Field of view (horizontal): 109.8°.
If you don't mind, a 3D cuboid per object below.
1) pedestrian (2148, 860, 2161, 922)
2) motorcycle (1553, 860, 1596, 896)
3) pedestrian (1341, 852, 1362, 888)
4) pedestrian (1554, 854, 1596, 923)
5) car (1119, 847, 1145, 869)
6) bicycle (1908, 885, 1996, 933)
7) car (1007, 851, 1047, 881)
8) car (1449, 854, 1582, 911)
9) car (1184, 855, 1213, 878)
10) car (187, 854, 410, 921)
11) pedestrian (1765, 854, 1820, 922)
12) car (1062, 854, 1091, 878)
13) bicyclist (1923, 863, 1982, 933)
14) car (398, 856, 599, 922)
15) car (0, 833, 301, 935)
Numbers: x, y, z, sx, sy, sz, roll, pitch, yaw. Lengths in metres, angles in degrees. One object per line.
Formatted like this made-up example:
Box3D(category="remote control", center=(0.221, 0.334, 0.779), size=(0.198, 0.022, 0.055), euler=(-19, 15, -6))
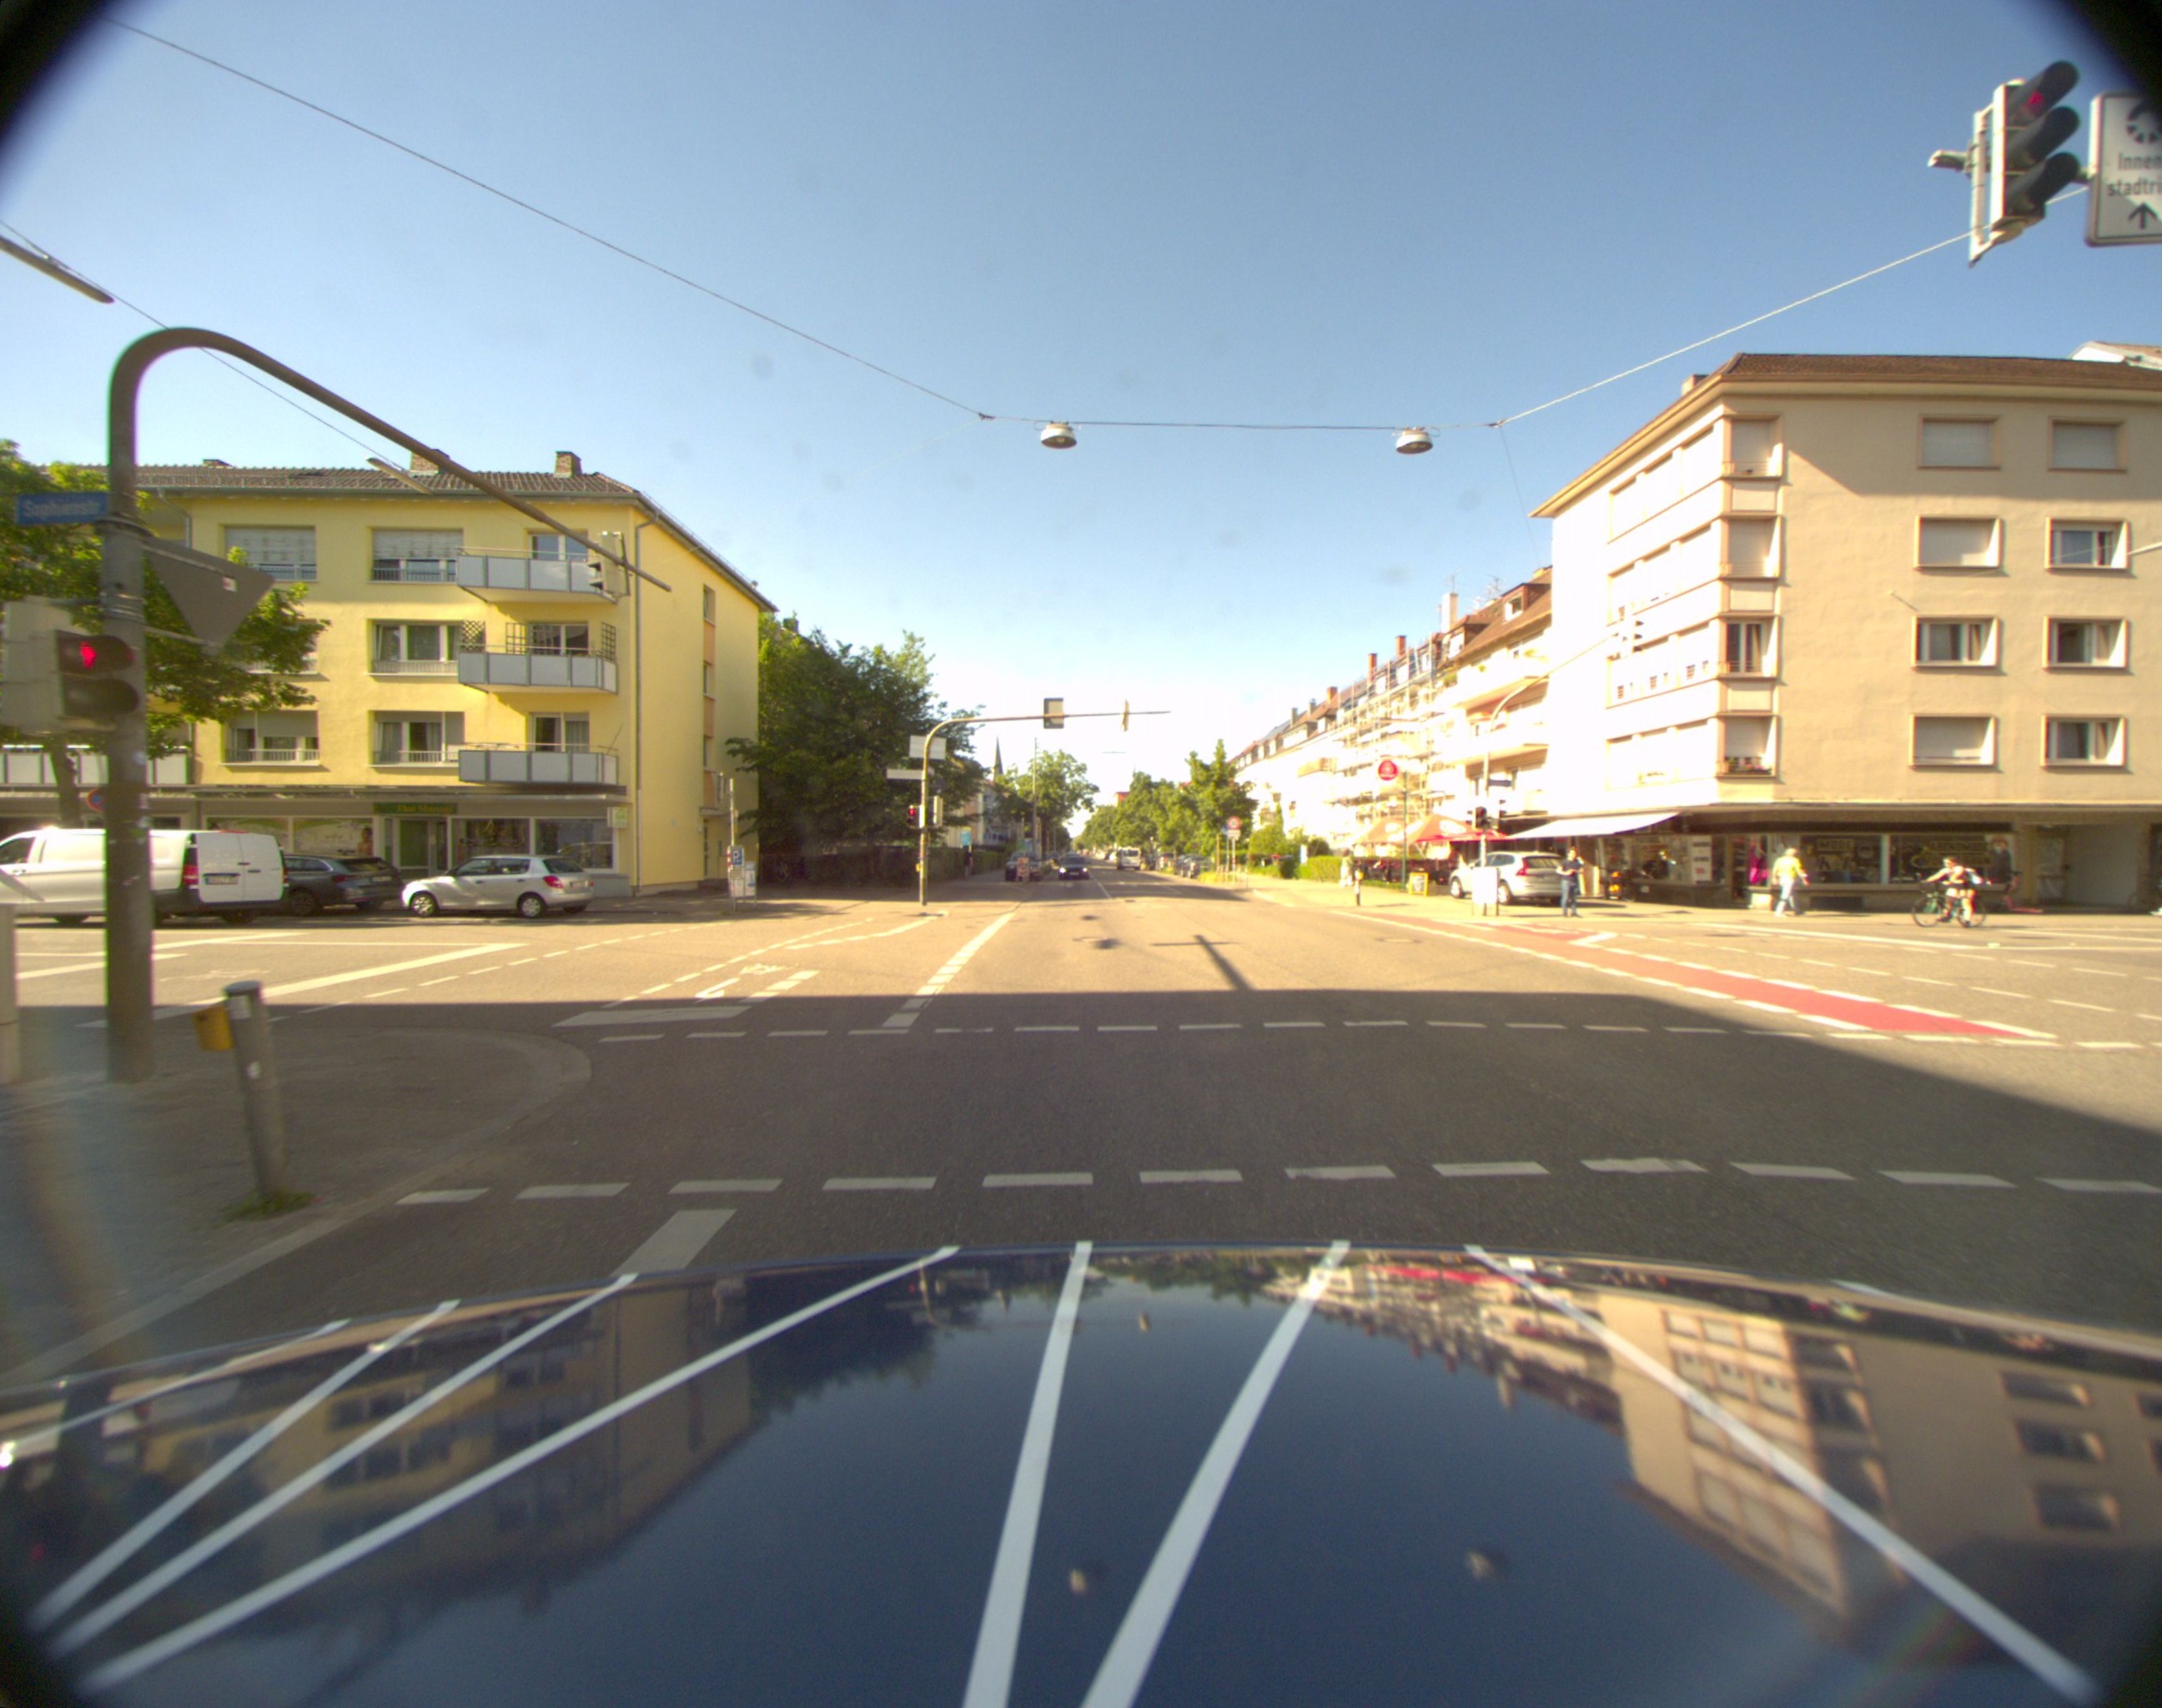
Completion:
Box3D(category="pedestrian", center=(29.126, 0.990, 20.238), size=(0.564, 1.636, 0.727), euler=(0, 1, -42))
Box3D(category="motorcycle", center=(19.619, 0.934, 30.249), size=(0.570, 1.360, 1.763), euler=(1, 0, 1))
Box3D(category="pedestrian", center=(11.766, 0.679, 33.060), size=(0.643, 1.502, 0.535), euler=(-3, 1, -2))
Box3D(category="pedestrian", center=(12.488, 0.864, 19.220), size=(0.671, 1.709, 0.584), euler=(1, 2, 9))
Box3D(category="car", center=(4.520, 0.343, 68.016), size=(1.966, 1.910, 5.496), euler=(0, 0, 0))
Box3D(category="bicycle", center=(20.222, 1.279, 17.642), size=(1.565, 1.070, 0.449), euler=(0, 1, -2))
Box3D(category="car", center=(-2.852, 0.598, 40.837), size=(1.823, 1.542, 4.304), euler=(0, 0, 0))
Box3D(category="car", center=(13.613, 0.823, 24.142), size=(1.765, 1.613, 4.304), euler=(0, 0, 0))
Box3D(category="car", center=(7.308, 0.780, 47.364), size=(1.323, 1.348, 3.093), euler=(0, 0, 0))
Box3D(category="car", center=(-18.467, 0.758, 18.049), size=(3.645, 1.473, 1.579), euler=(0, 1, 0))
Box3D(category="pedestrian", center=(18.617, 0.879, 19.895), size=(0.728, 1.725, 0.683), euler=(0, 2, -2))
Box3D(category="car", center=(-0.246, 0.675, 44.599), size=(1.654, 1.348, 4.304), euler=(0, 0, 0))
Box3D(category="bicyclist", center=(20.244, 1.016, 17.664), size=(0.686, 1.598, 0.578), euler=(0, 1, -2))
Box3D(category="car", center=(-13.784, 0.806, 18.114), size=(3.645, 1.473, 1.481), euler=(0, 1, 0))
Box3D(category="car", center=(-18.837, 0.563, 14.965), size=(4.962, 1.849, 1.866), euler=(0, -1, -1))
